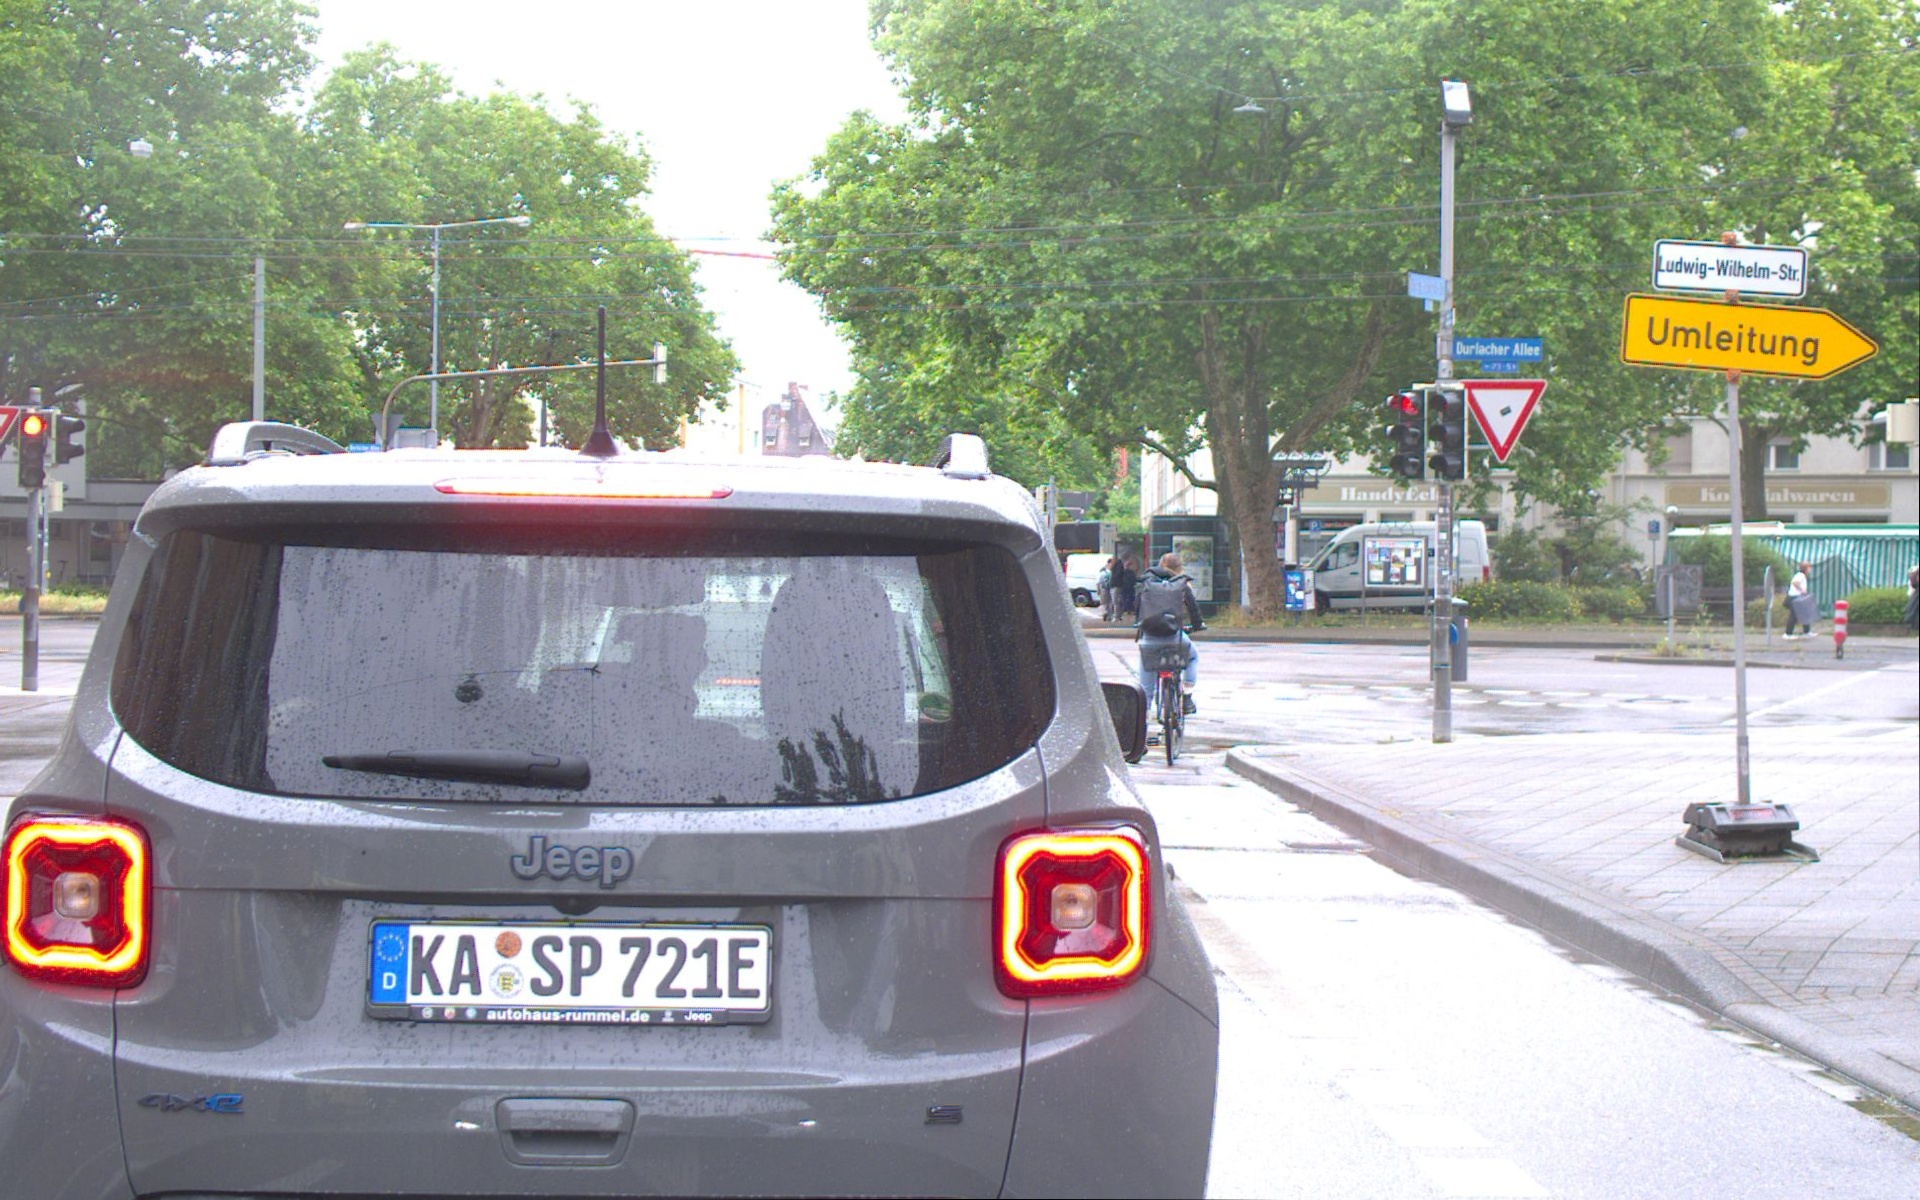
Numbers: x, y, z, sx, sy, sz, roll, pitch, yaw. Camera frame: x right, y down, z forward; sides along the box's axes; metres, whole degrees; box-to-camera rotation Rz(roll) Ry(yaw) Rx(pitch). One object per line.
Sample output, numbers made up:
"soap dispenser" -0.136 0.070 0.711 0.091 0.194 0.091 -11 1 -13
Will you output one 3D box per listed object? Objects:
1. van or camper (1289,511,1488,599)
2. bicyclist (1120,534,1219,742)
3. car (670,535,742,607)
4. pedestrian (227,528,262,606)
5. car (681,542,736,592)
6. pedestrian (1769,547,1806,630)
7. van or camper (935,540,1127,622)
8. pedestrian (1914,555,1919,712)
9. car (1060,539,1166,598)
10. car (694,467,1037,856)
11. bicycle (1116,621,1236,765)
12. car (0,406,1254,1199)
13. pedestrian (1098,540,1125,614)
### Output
"van or camper" 11.778 -1.258 94.830 5.260 2.307 2.090 1 1 3
"bicyclist" 1.655 0.287 27.230 0.687 1.612 0.884 -1 1 -2
"car" -6.299 -0.728 84.980 1.721 1.733 3.730 0 1 -5
"pedestrian" -16.763 -0.768 80.548 0.618 1.820 0.694 -1 1 -29
"car" -8.581 -1.139 117.062 1.813 1.665 3.921 0 1 -5
"pedestrian" 16.122 -0.232 66.973 0.613 1.598 0.493 0 1 24
"van or camper" 2.568 -0.721 124.780 6.535 2.902 2.491 1 1 24
"pedestrian" 11.232 0.372 38.953 0.786 1.753 0.945 0 1 14
"car" 5.326 -1.104 119.536 3.438 2.007 1.547 0 0 13
"car" -0.528 0.287 19.821 1.770 2.007 4.000 0 1 -1
"bicycle" 1.684 0.706 27.163 0.691 1.018 2.658 -1 1 -2
"car" -0.579 0.575 6.198 1.775 1.681 3.848 -1 1 -2
"pedestrian" 4.077 -0.621 92.616 0.651 2.007 0.482 1 1 12
